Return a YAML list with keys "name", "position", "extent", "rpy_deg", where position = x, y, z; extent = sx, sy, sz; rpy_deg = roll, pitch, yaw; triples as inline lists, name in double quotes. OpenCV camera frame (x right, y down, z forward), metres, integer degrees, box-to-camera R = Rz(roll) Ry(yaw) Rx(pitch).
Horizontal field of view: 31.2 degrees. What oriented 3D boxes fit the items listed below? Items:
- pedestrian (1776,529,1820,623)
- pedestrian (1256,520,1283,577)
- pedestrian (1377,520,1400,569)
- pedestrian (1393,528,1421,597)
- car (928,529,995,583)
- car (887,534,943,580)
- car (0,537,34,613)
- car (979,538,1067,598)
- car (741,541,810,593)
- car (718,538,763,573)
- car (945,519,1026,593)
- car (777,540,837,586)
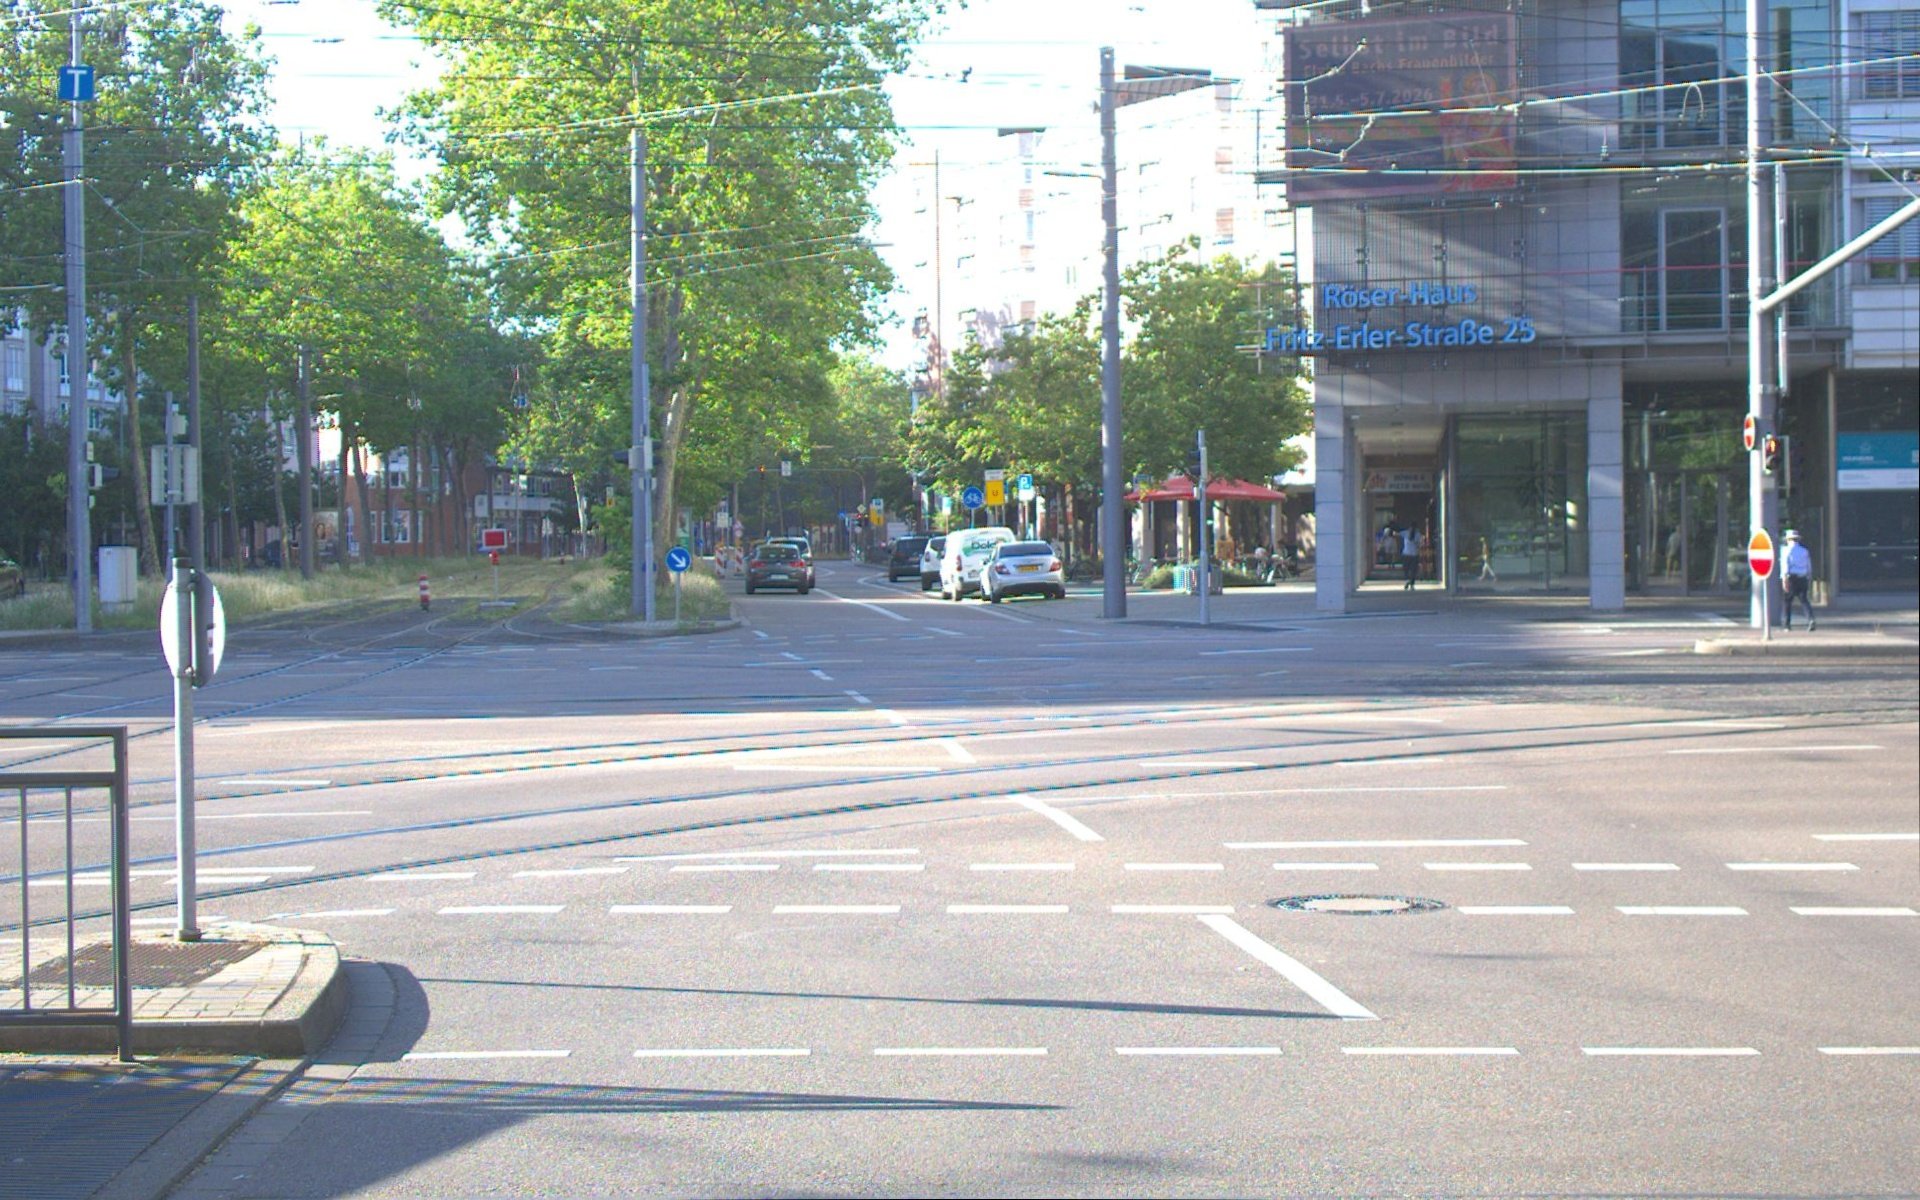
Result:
- name: "pedestrian"
  position: [13.457, -0.388, 55.238]
  extent: [0.612, 1.502, 0.579]
  rpy_deg: [-1, 1, 7]
- name: "pedestrian"
  position: [9.446, -1.573, 104.950]
  extent: [0.744, 1.708, 0.612]
  rpy_deg: [-1, 1, -1]
- name: "pedestrian"
  position: [15.365, -1.991, 123.256]
  extent: [0.744, 1.708, 0.612]
  rpy_deg: [-1, 1, -1]
- name: "pedestrian"
  position: [9.921, -0.837, 76.293]
  extent: [0.612, 1.502, 0.579]
  rpy_deg: [-1, 1, 7]
- name: "car"
  position: [0.032, -1.357, 105.205]
  extent: [1.993, 1.612, 4.000]
  rpy_deg: [-1, 1, 0]
- name: "car"
  position: [-1.647, -1.594, 126.655]
  extent: [1.993, 1.612, 4.000]
  rpy_deg: [-1, 1, 0]
- name: "car"
  position: [-21.672, -0.533, 74.914]
  extent: [1.993, 1.634, 4.000]
  rpy_deg: [-1, 1, -1]
- name: "car"
  position: [1.489, -0.785, 82.764]
  extent: [1.993, 1.371, 4.000]
  rpy_deg: [-1, 1, -1]
- name: "car"
  position: [-5.295, -0.954, 98.951]
  extent: [1.797, 1.437, 4.000]
  rpy_deg: [-1, 1, -1]
- name: "car"
  position: [-9.428, -1.929, 147.877]
  extent: [1.797, 1.437, 4.001]
  rpy_deg: [-1, 1, -2]
- name: "car"
  position: [0.645, -1.162, 89.559]
  extent: [1.993, 1.853, 4.000]
  rpy_deg: [-1, 1, -1]
- name: "car"
  position: [-4.948, -1.202, 111.463]
  extent: [1.797, 1.437, 4.000]
  rpy_deg: [-1, 1, -1]
